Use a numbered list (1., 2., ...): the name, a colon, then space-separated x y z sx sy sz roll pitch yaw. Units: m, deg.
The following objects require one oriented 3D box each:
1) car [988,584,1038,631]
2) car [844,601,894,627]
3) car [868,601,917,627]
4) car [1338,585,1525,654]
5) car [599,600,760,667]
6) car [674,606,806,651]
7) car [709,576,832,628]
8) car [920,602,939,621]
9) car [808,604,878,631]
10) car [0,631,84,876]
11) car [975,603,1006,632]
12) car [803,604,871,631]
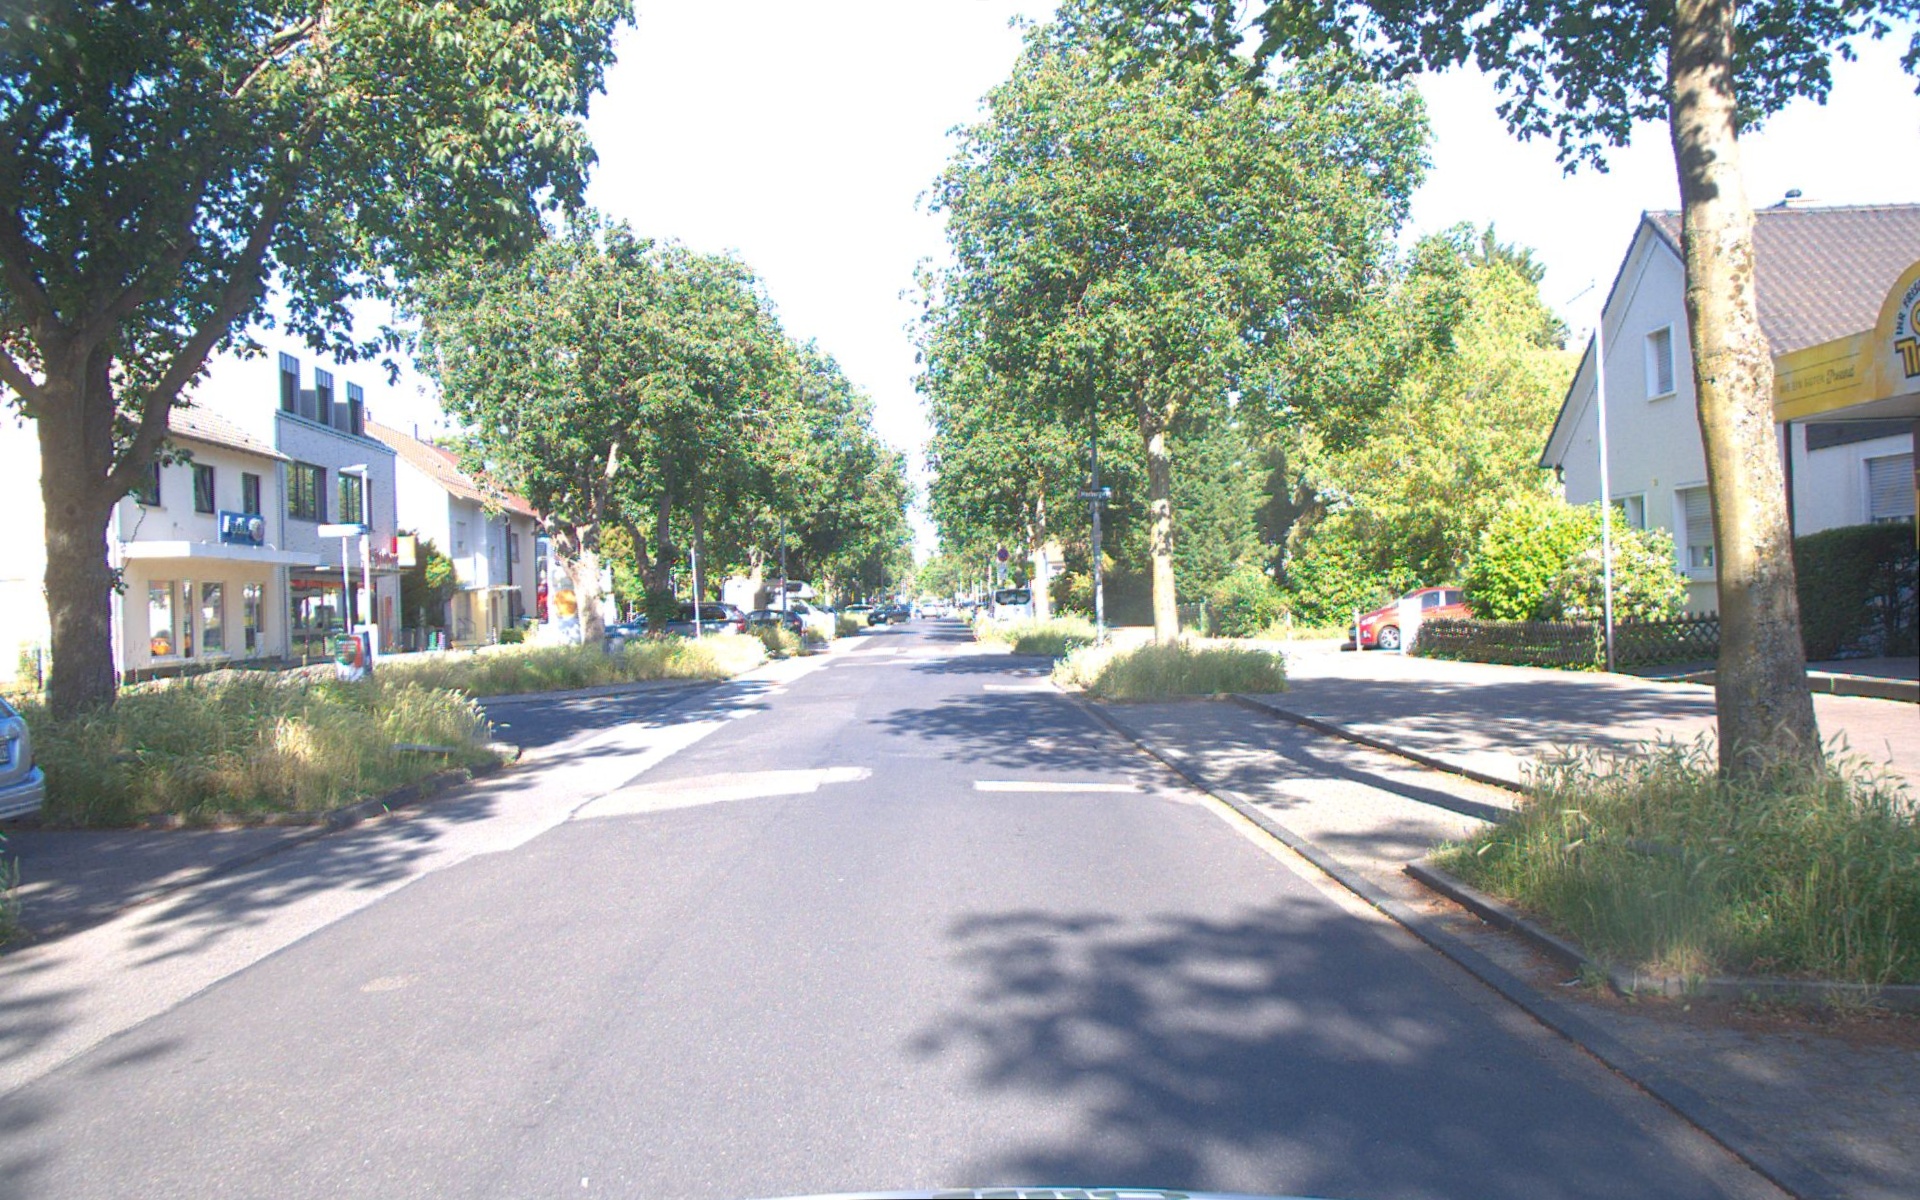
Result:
1. car: 2.112 0.311 67.254 1.864 1.805 4.300 -1 0 0
2. car: -7.632 1.158 139.070 3.903 2.048 2.001 0 1 3
3. car: -4.673 0.978 115.279 1.953 1.672 4.000 0 2 22
4. car: 11.918 0.463 42.009 4.199 1.637 2.000 -1 1 -1
5. car: -8.125 0.942 48.209 4.458 1.796 1.998 -1 1 -6
6. car: -7.191 0.922 54.333 4.204 1.338 1.907 -1 1 -6
7. car: -8.656 0.079 76.064 5.388 2.286 2.516 -1 1 -3
8. car: -3.077 1.153 164.336 1.766 1.735 3.999 -1 1 -2
9. car: -6.369 0.951 90.146 3.624 1.471 1.665 -1 0 3
10. car: -8.368 1.014 10.629 4.462 1.538 1.840 -1 0 -1
11. car: 1.898 1.097 105.431 1.864 1.805 4.300 -1 0 0
12. car: -6.922 0.994 93.084 3.624 1.471 1.665 -1 0 3
